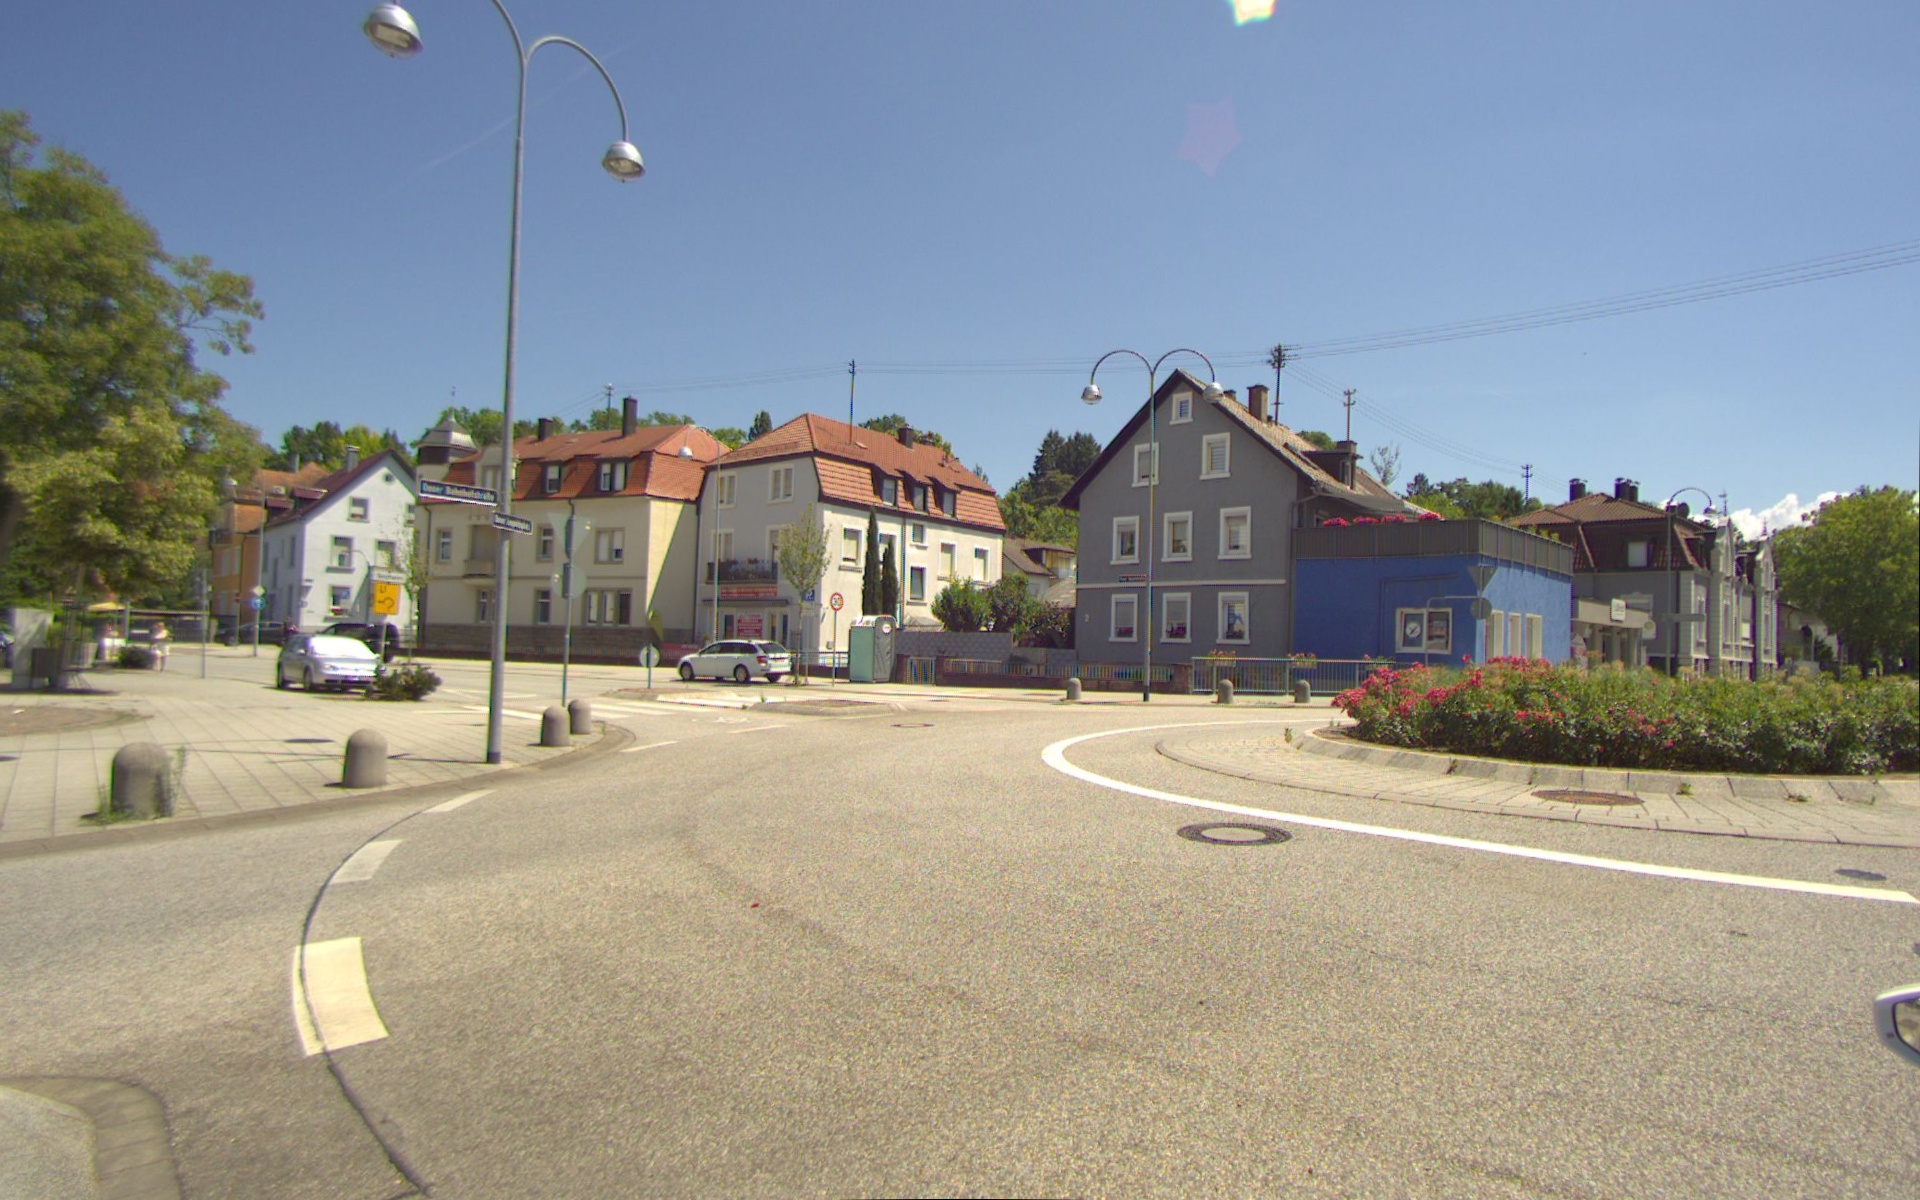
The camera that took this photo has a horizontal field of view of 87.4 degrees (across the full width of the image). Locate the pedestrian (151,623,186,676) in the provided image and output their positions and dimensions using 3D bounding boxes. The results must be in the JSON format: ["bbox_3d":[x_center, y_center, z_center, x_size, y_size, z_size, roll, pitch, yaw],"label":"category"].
[{"bbox_3d":[-25.517,1.578,32.390,0.812,1.670,0.940,3,-2,-39],"label":"pedestrian"}]

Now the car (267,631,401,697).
[{"bbox_3d":[-16.138,1.592,25.833,3.941,1.544,1.788,-1,-3,41],"label":"car"}]

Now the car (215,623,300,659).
[{"bbox_3d":[-42.712,2.506,61.180,3.953,2.040,1.984,3,-2,-30],"label":"car"}]

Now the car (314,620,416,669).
[{"bbox_3d":[-27.615,2.052,46.618,3.922,2.040,2.000,2,-1,22],"label":"car"}]

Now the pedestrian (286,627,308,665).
[{"bbox_3d":[-35.512,2.461,53.830,0.708,2.040,0.872,2,-2,-19],"label":"pedestrian"}]

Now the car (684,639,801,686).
[{"bbox_3d":[-7.579,2.145,34.914,4.007,1.410,1.605,0,0,32],"label":"car"}]
